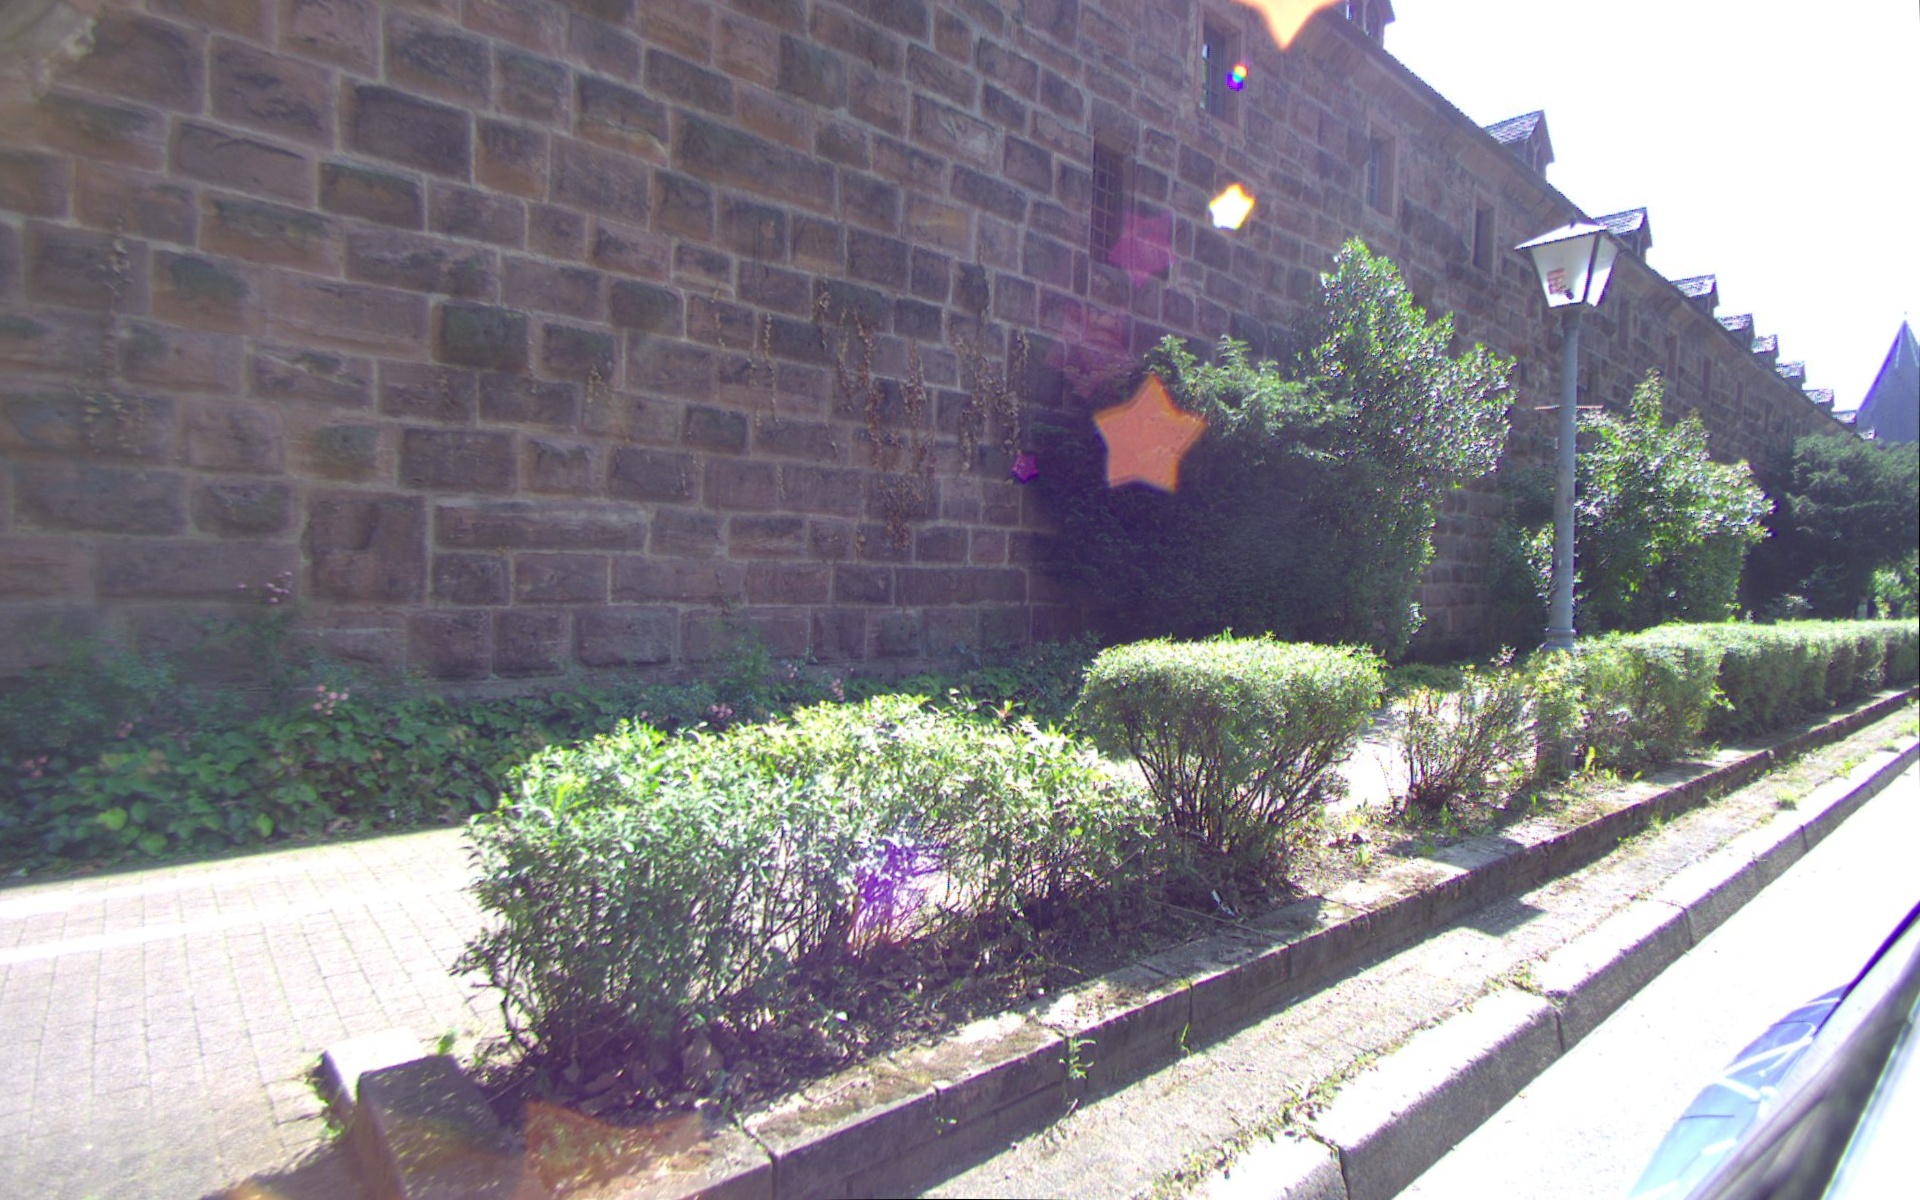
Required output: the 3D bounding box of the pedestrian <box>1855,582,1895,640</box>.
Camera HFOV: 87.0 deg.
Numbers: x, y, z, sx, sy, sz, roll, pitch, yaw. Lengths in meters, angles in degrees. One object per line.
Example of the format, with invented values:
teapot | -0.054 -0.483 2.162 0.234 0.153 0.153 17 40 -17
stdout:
pedestrian | 27.081 0.316 29.950 0.692 1.673 0.700 1 2 -38
